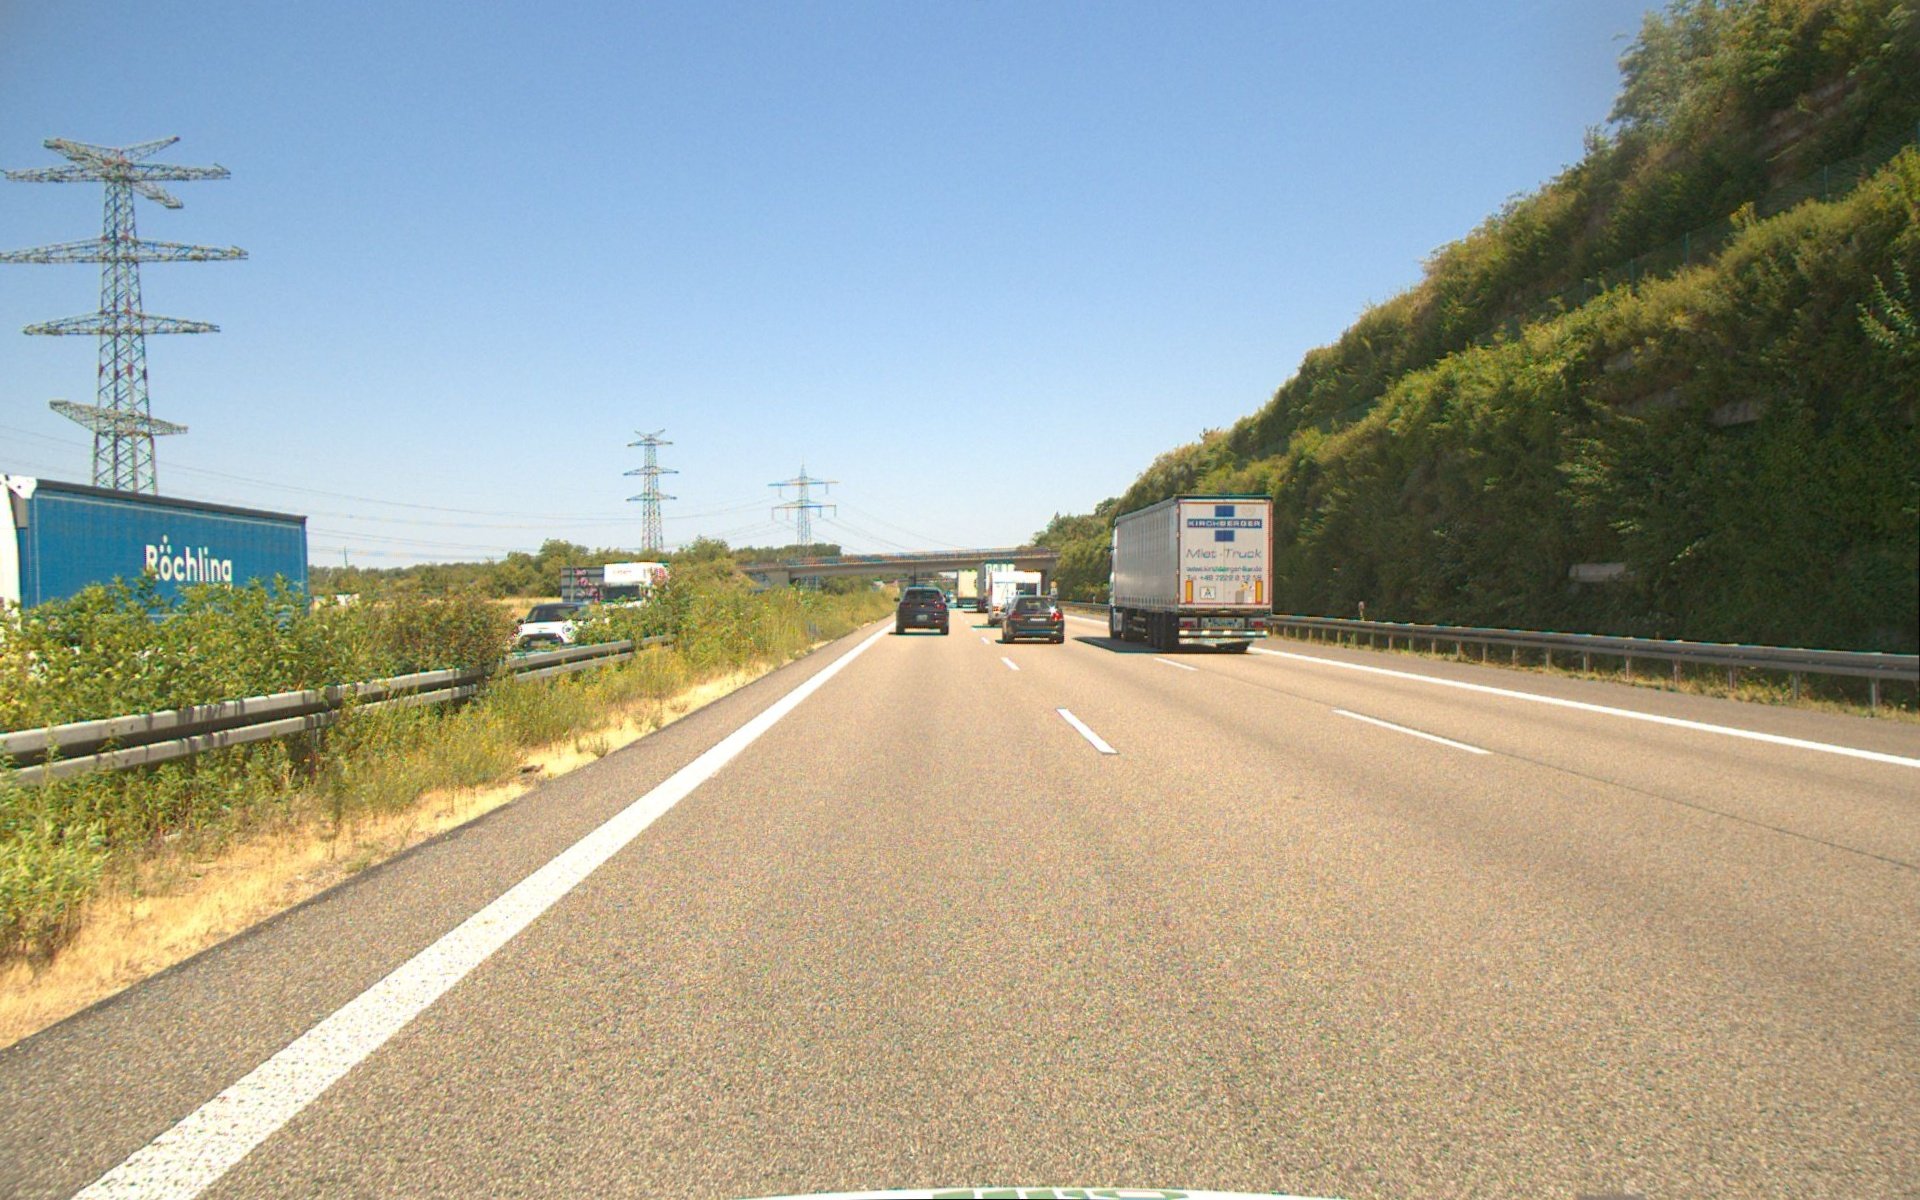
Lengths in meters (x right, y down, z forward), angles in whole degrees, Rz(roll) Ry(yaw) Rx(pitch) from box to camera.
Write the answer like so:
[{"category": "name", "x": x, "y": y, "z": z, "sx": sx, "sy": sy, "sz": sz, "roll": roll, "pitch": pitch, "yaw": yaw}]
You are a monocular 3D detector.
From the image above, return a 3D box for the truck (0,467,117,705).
[{"category": "truck", "x": -18.053, "y": -0.237, "z": 29.935, "sx": 2.641, "sy": 4.139, "sz": 5.800, "roll": -1, "pitch": 0, "yaw": -1}]

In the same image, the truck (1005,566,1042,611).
[{"category": "truck", "x": 6.241, "y": -1.135, "z": 164.168, "sx": 3.056, "sy": 4.355, "sz": 10.165, "roll": -1, "pitch": 0, "yaw": -1}]

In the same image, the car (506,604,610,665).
[{"category": "car", "x": -10.151, "y": 0.834, "z": 42.013, "sx": 1.598, "sy": 1.423, "sz": 4.330, "roll": -1, "pitch": 0, "yaw": -1}]

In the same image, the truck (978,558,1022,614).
[{"category": "truck", "x": 3.214, "y": -1.148, "z": 136.872, "sx": 3.056, "sy": 4.355, "sz": 11.931, "roll": -1, "pitch": 0, "yaw": -1}]

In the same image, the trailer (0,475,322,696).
[{"category": "trailer", "x": -18.197, "y": -0.284, "z": 37.020, "sx": 2.639, "sy": 4.006, "sz": 13.906, "roll": -1, "pitch": 0, "yaw": -1}]

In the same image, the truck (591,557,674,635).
[{"category": "truck", "x": -18.970, "y": -0.235, "z": 96.500, "sx": 2.815, "sy": 4.249, "sz": 10.566, "roll": -1, "pitch": 0, "yaw": -1}]

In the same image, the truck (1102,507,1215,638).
[{"category": "truck", "x": 6.719, "y": -0.905, "z": 56.709, "sx": 3.072, "sy": 4.214, "sz": 5.502, "roll": -1, "pitch": 0, "yaw": -1}]

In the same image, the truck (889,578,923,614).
[{"category": "truck", "x": -6.460, "y": -0.485, "z": 197.978, "sx": 3.882, "sy": 4.185, "sz": 9.949, "roll": -1, "pitch": 0, "yaw": -2}]

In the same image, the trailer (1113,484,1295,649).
[{"category": "trailer", "x": 6.910, "y": -0.897, "z": 49.400, "sx": 3.118, "sy": 4.193, "sz": 13.428, "roll": -1, "pitch": 0, "yaw": -1}]

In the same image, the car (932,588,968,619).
[{"category": "car", "x": -0.597, "y": 0.179, "z": 92.119, "sx": 1.793, "sy": 1.700, "sz": 3.998, "roll": -1, "pitch": 0, "yaw": -3}]

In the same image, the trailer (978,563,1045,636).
[{"category": "trailer", "x": 2.382, "y": -0.056, "z": 79.617, "sx": 2.558, "sy": 3.269, "sz": 9.949, "roll": -1, "pitch": 0, "yaw": -2}]

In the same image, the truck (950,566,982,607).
[{"category": "truck", "x": 0.621, "y": -1.495, "z": 186.543, "sx": 3.340, "sy": 4.355, "sz": 10.605, "roll": -1, "pitch": 0, "yaw": -1}]

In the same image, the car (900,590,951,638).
[{"category": "car", "x": -1.304, "y": 0.491, "z": 61.886, "sx": 1.793, "sy": 1.700, "sz": 3.999, "roll": -1, "pitch": 0, "yaw": -2}]

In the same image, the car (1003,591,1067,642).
[{"category": "car", "x": 2.345, "y": 0.493, "z": 52.581, "sx": 1.792, "sy": 1.552, "sz": 3.999, "roll": -1, "pitch": 0, "yaw": -1}]
